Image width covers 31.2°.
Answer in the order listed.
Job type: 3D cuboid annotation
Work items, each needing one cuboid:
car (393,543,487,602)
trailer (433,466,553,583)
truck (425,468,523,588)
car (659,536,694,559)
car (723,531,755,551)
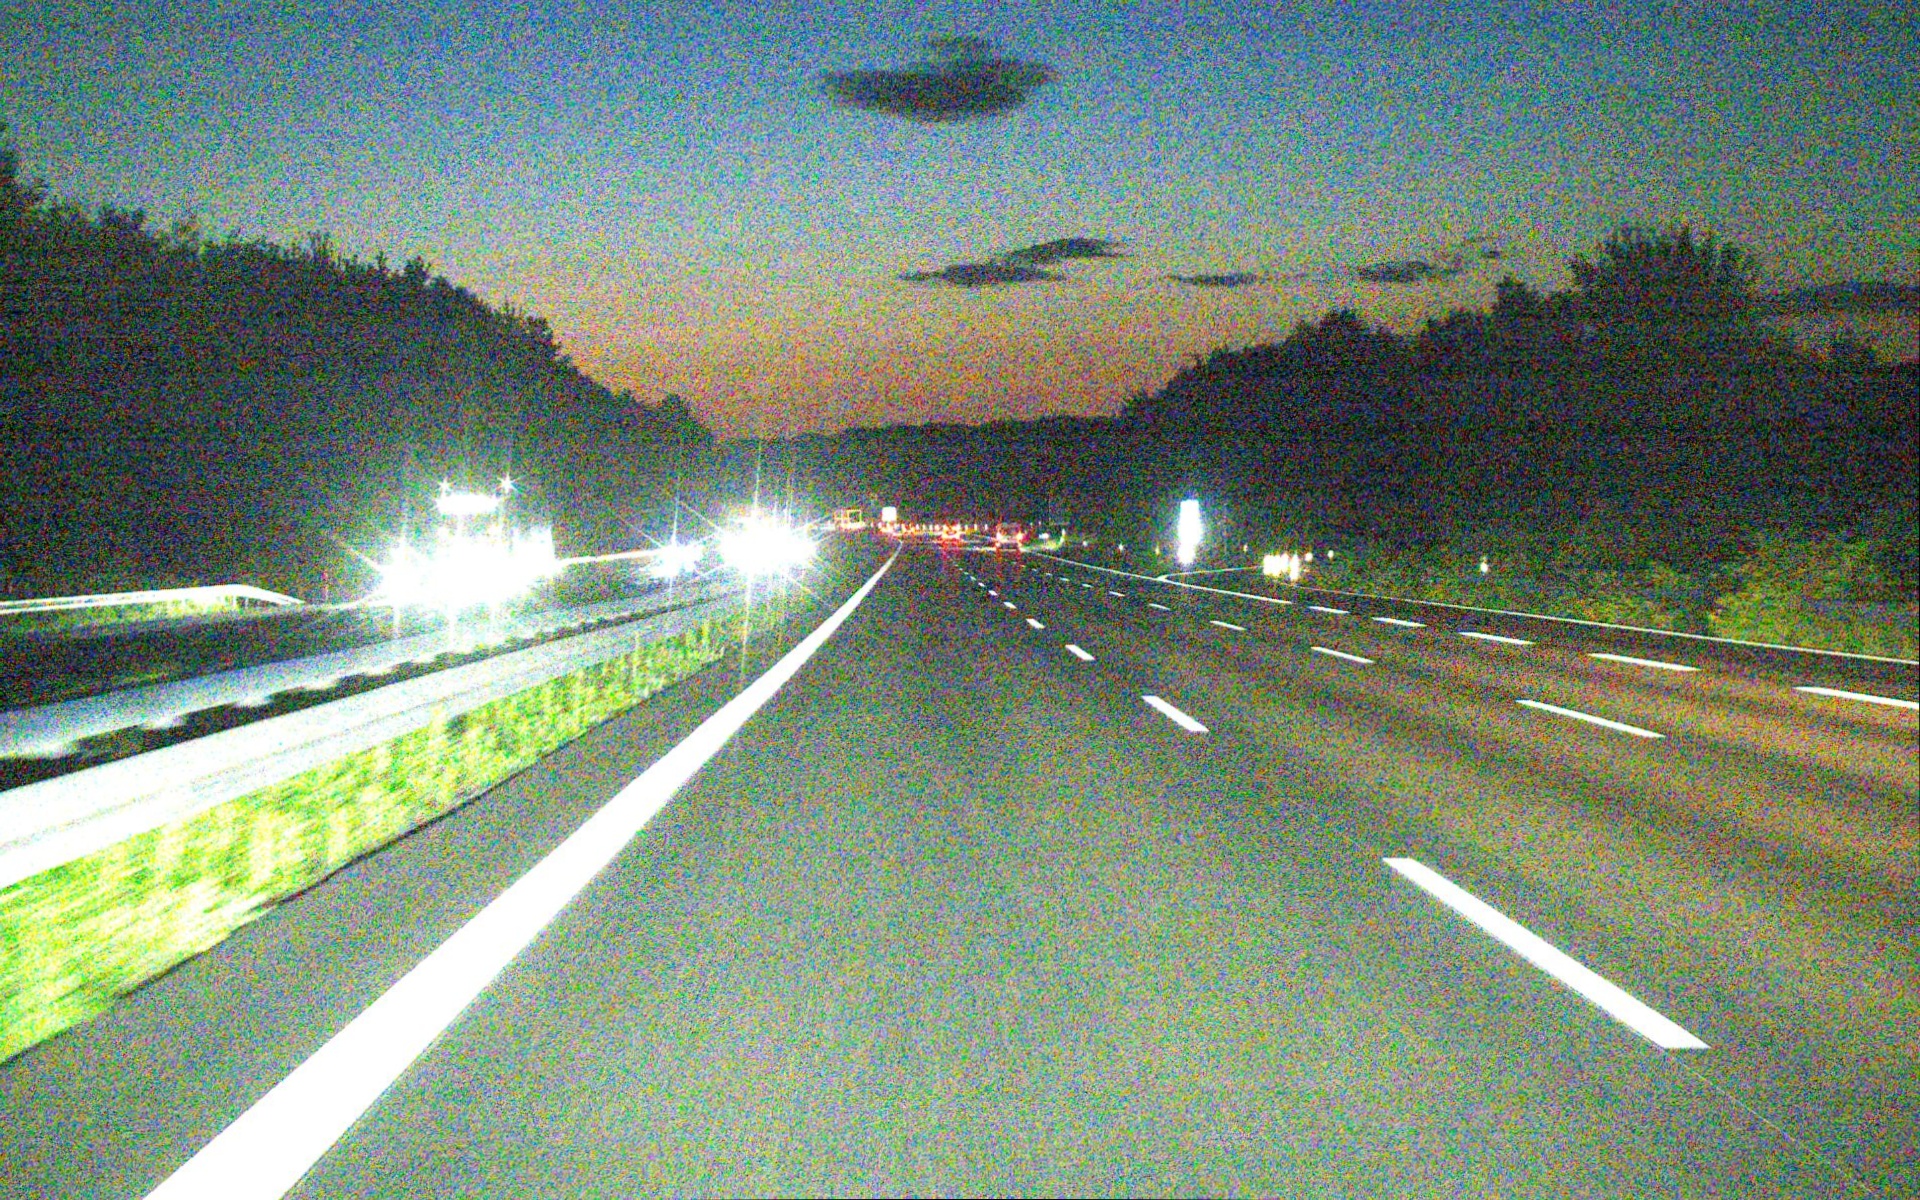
[{"bbox_3d":[-13.817,-0.747,91.484,1.993,1.456,4.693,-2,1,-3],"label":"car"},{"bbox_3d":[-17.901,-2.854,132.798,2.860,4.161,13.906,-2,1,-1],"label":"trailer"},{"bbox_3d":[-17.773,-2.630,126.096,2.753,4.197,5.827,-2,1,-1],"label":"truck"},{"bbox_3d":[-19.422,-3.590,235.470,1.993,1.480,4.801,-2,1,0],"label":"car"},{"bbox_3d":[-15.735,-4.235,245.521,1.993,1.389,5.706,-2,1,-1],"label":"car"}]
